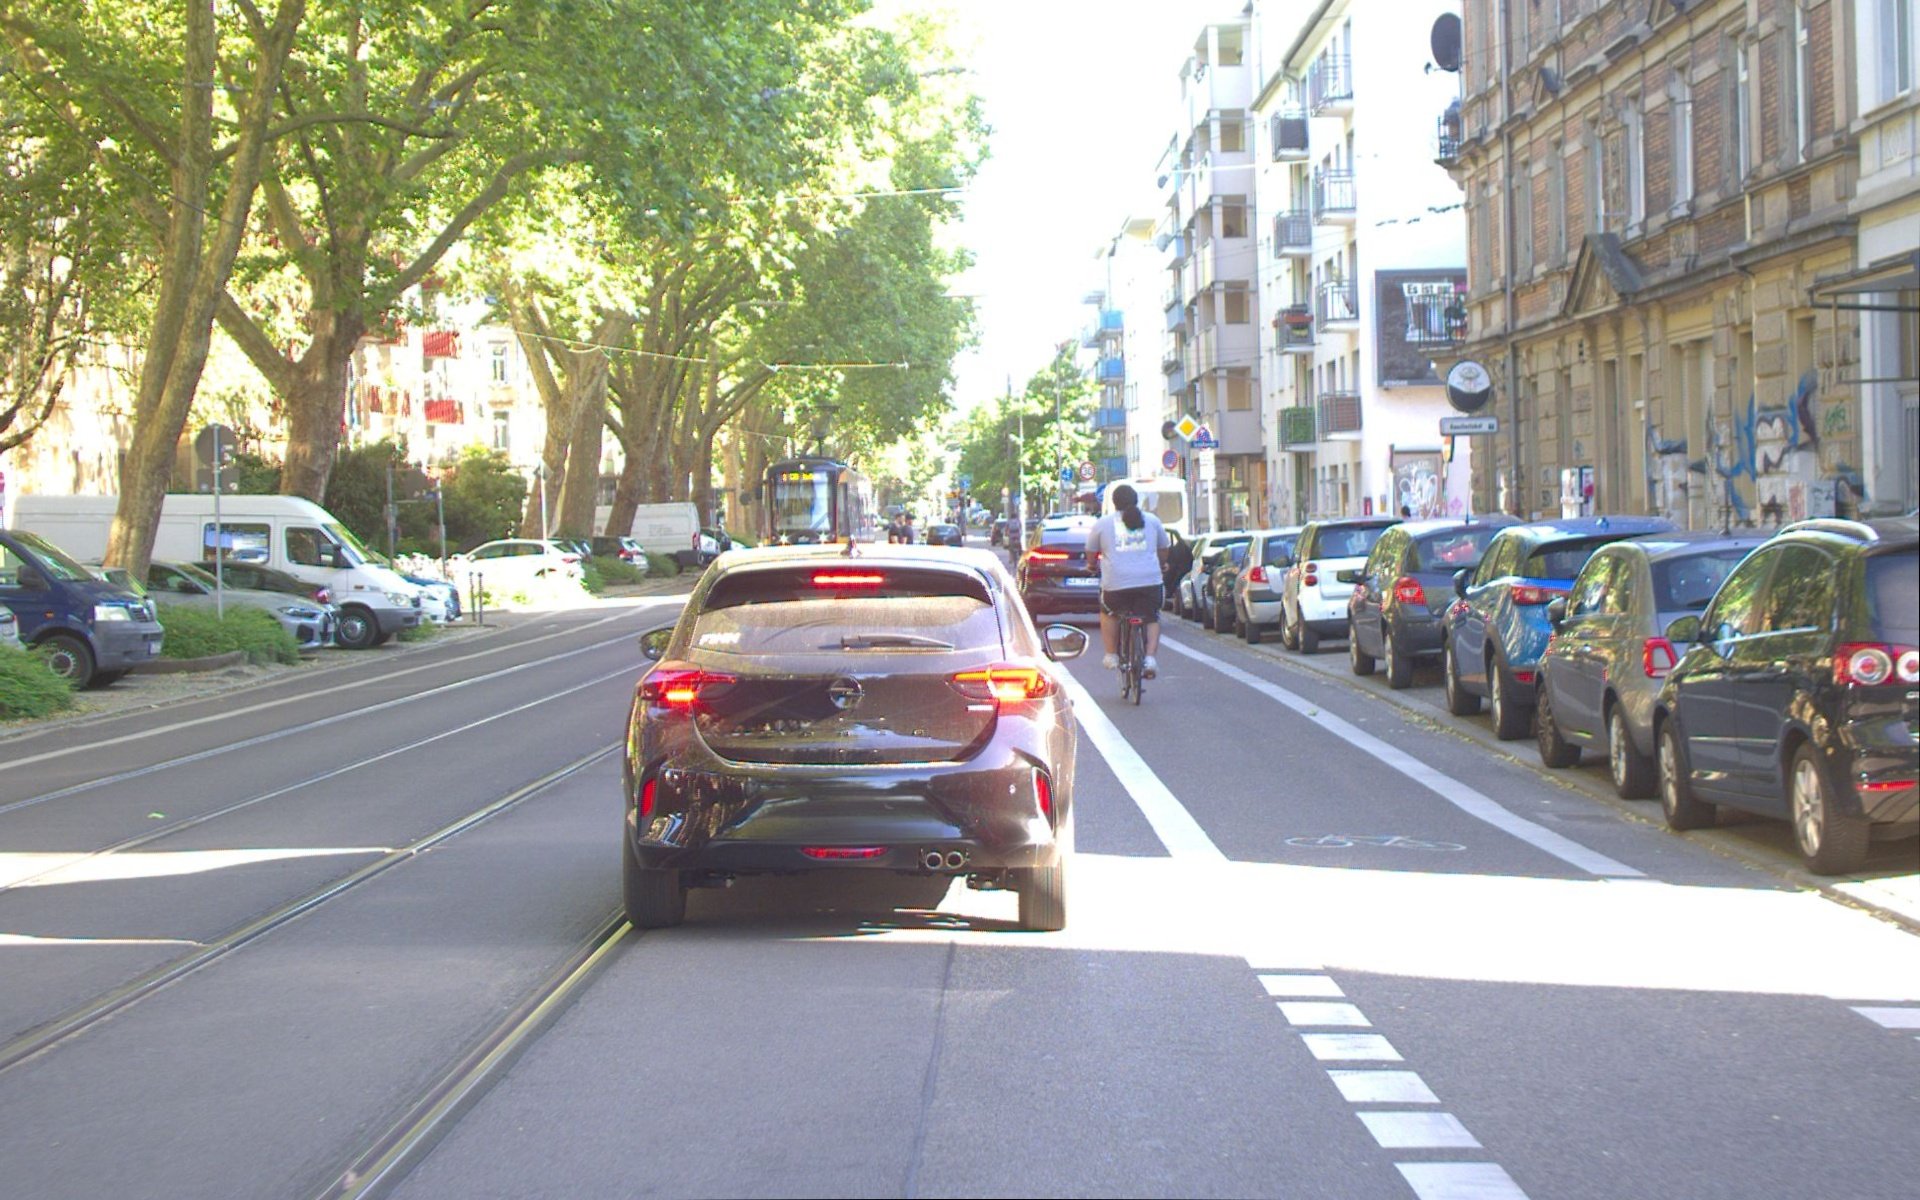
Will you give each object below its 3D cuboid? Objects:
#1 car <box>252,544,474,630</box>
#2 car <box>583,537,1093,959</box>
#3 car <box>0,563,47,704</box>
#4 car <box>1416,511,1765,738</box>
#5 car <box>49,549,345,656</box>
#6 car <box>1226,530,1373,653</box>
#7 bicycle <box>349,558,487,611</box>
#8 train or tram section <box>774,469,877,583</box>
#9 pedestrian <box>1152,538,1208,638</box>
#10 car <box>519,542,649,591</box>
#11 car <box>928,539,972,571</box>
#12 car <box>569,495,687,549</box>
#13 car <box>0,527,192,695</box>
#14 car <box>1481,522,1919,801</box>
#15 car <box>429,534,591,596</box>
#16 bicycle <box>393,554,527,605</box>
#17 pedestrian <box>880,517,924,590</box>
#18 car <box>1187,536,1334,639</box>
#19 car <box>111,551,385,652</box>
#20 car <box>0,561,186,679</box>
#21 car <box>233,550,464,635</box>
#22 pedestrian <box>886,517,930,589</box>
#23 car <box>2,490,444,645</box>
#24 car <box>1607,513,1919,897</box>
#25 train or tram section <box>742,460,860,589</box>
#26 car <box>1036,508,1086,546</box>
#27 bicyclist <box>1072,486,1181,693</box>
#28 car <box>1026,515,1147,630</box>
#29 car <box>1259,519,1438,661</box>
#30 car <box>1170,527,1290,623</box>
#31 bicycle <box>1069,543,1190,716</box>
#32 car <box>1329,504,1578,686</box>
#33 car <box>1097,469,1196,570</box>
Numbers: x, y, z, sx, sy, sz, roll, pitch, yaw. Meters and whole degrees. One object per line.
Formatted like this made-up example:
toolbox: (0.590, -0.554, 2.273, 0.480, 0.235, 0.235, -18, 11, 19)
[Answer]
car: (-11.243, -0.257, 64.917, 3.919, 1.572, 1.677, 1, 1, -2)
car: (-0.439, 0.493, 13.950, 1.794, 1.436, 3.531, 0, 2, 0)
car: (-12.140, 0.334, 37.781, 3.734, 1.493, 1.746, 1, 1, 0)
car: (4.656, 0.134, 25.960, 1.880, 1.451, 4.026, -4, 1, 1)
car: (-11.085, 0.028, 50.109, 3.920, 1.493, 1.677, 1, 1, 2)
car: (4.492, -0.149, 45.909, 1.705, 1.451, 3.697, -4, 1, 3)
bicycle: (-12.326, -0.357, 78.171, 2.945, 1.165, 0.989, 0, 1, 17)
train or tram section: (-4.535, -2.528, 118.578, 2.735, 3.669, 12.716, -2, 1, 1)
pedestrian: (3.488, -0.196, 54.591, 0.866, 1.561, 0.768, 0, 1, 2)
car: (-11.780, -1.052, 107.881, 3.919, 1.493, 1.677, 1, 1, -2)
car: (-0.426, -1.923, 146.503, 1.810, 1.333, 3.933, -1, 1, 0)
car: (-11.300, -2.647, 117.191, 3.919, 1.784, 1.677, 1, 1, -2)
car: (-11.668, 0.095, 40.699, 4.675, 1.917, 1.980, 1, 1, 2)
car: (4.498, 0.319, 21.342, 1.798, 1.451, 3.768, -4, 1, -1)
car: (-11.343, -0.886, 86.828, 3.919, 1.493, 1.677, 1, 1, -2)
bicycle: (-11.690, -0.471, 80.350, 2.945, 1.165, 0.989, 0, 1, 17)
pedestrian: (-1.235, -0.999, 73.556, 0.680, 1.561, 0.768, 0, 1, 24)
car: (4.370, -0.212, 50.503, 1.810, 1.333, 3.933, -4, 1, 1)
car: (-11.031, 0.013, 53.417, 3.919, 1.493, 1.677, 1, 1, -2)
car: (-11.833, 0.233, 43.409, 3.734, 1.425, 1.637, 1, 1, 0)
car: (-11.076, -0.148, 62.428, 3.919, 1.493, 1.677, 1, 1, -2)
pedestrian: (-1.113, -1.015, 74.371, 0.680, 1.561, 0.768, 0, 1, 24)
car: (-11.889, -0.535, 55.795, 6.628, 2.401, 2.458, 1, 1, 1)
car: (4.623, 0.394, 16.798, 1.880, 1.580, 3.933, -4, 1, -3)
train or tram section: (-4.782, -2.294, 105.976, 2.735, 3.669, 12.716, -2, 1, 1)
car: (3.925, -2.846, 134.015, 1.810, 1.333, 3.933, -4, 1, 1)
bicyclist: (1.420, -0.099, 29.544, 0.848, 1.734, 1.162, 0, 1, -1)
car: (1.977, -0.454, 54.525, 1.810, 1.736, 3.933, -1, 1, 1)
car: (4.575, -0.140, 40.854, 1.567, 1.512, 3.041, -4, 1, -2)
car: (4.434, -0.435, 56.962, 1.662, 1.414, 3.933, -4, 1, 1)
bicycle: (1.430, 0.221, 29.450, 0.860, 1.402, 2.524, 0, 1, -1)
car: (4.560, -0.077, 32.228, 1.710, 1.478, 3.764, -4, 1, 0)
car: (4.495, -1.944, 83.484, 2.075, 2.211, 4.933, -4, 1, 1)
